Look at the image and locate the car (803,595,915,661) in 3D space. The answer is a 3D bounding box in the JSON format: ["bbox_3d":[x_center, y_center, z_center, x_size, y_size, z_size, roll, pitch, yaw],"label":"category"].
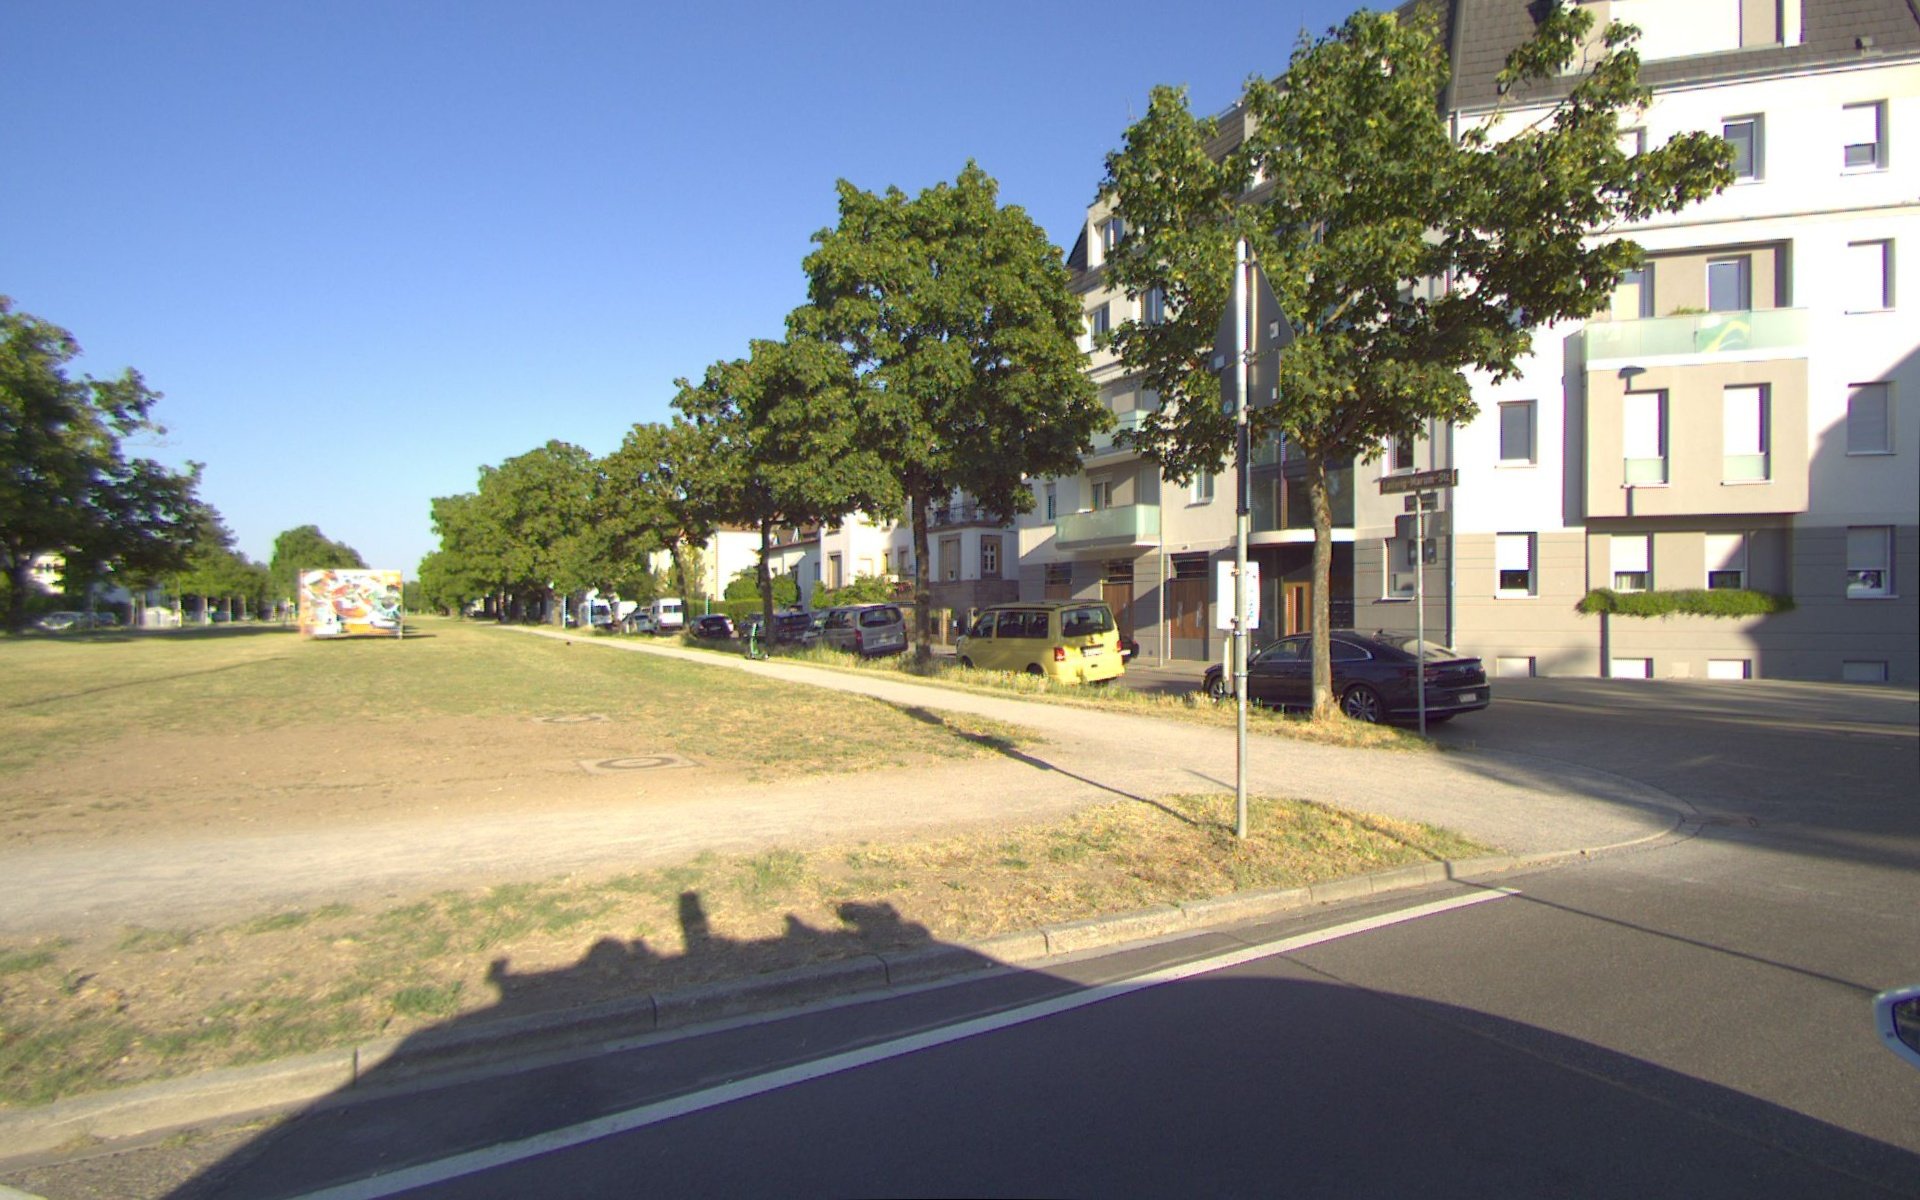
[{"bbox_3d":[-3.417,0.881,33.257,2.054,2.040,4.540,0,-1,-29],"label":"car"}]

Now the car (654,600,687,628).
[{"bbox_3d":[-23.678,1.127,82.136,1.974,2.243,4.104,0,0,-26],"label":"car"}]

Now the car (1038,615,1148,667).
[{"bbox_3d":[4.119,1.242,31.629,1.605,1.441,3.704,-2,1,-27],"label":"car"}]

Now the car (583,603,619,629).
[{"bbox_3d":[-28.325,1.242,79.188,2.199,1.972,4.479,0,0,-26],"label":"car"}]

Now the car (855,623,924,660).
[{"bbox_3d":[-3.357,1.892,47.241,1.804,1.601,3.808,0,0,-29],"label":"car"}]

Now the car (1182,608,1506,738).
[{"bbox_3d":[5.751,0.983,15.757,1.766,1.691,4.804,0,0,-28],"label":"car"}]

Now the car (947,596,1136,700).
[{"bbox_3d":[1.738,0.999,23.118,2.008,2.040,4.658,-4,2,-29],"label":"car"}]

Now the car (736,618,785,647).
[{"bbox_3d":[-12.149,1.946,61.101,1.804,1.601,4.131,0,0,-29],"label":"car"}]

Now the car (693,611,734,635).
[{"bbox_3d":[-17.176,1.547,69.837,1.804,1.601,3.938,0,0,-29],"label":"car"}]

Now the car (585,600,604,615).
[{"bbox_3d":[-44.912,0.896,123.512,1.824,1.765,3.870,0,0,-26],"label":"car"}]

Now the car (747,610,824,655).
[{"bbox_3d":[-6.743,1.206,38.556,1.804,1.601,3.808,0,0,-29],"label":"car"}]

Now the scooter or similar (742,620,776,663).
[{"bbox_3d":[-5.474,1.111,27.273,0.447,1.131,1.636,0,0,-28],"label":"scooter or similar"}]

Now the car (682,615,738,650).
[{"bbox_3d":[-12.444,1.583,49.901,1.804,1.601,3.808,0,0,-29],"label":"car"}]

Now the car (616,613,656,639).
[{"bbox_3d":[-21.174,1.650,65.547,1.804,1.601,3.808,0,0,-29],"label":"car"}]
